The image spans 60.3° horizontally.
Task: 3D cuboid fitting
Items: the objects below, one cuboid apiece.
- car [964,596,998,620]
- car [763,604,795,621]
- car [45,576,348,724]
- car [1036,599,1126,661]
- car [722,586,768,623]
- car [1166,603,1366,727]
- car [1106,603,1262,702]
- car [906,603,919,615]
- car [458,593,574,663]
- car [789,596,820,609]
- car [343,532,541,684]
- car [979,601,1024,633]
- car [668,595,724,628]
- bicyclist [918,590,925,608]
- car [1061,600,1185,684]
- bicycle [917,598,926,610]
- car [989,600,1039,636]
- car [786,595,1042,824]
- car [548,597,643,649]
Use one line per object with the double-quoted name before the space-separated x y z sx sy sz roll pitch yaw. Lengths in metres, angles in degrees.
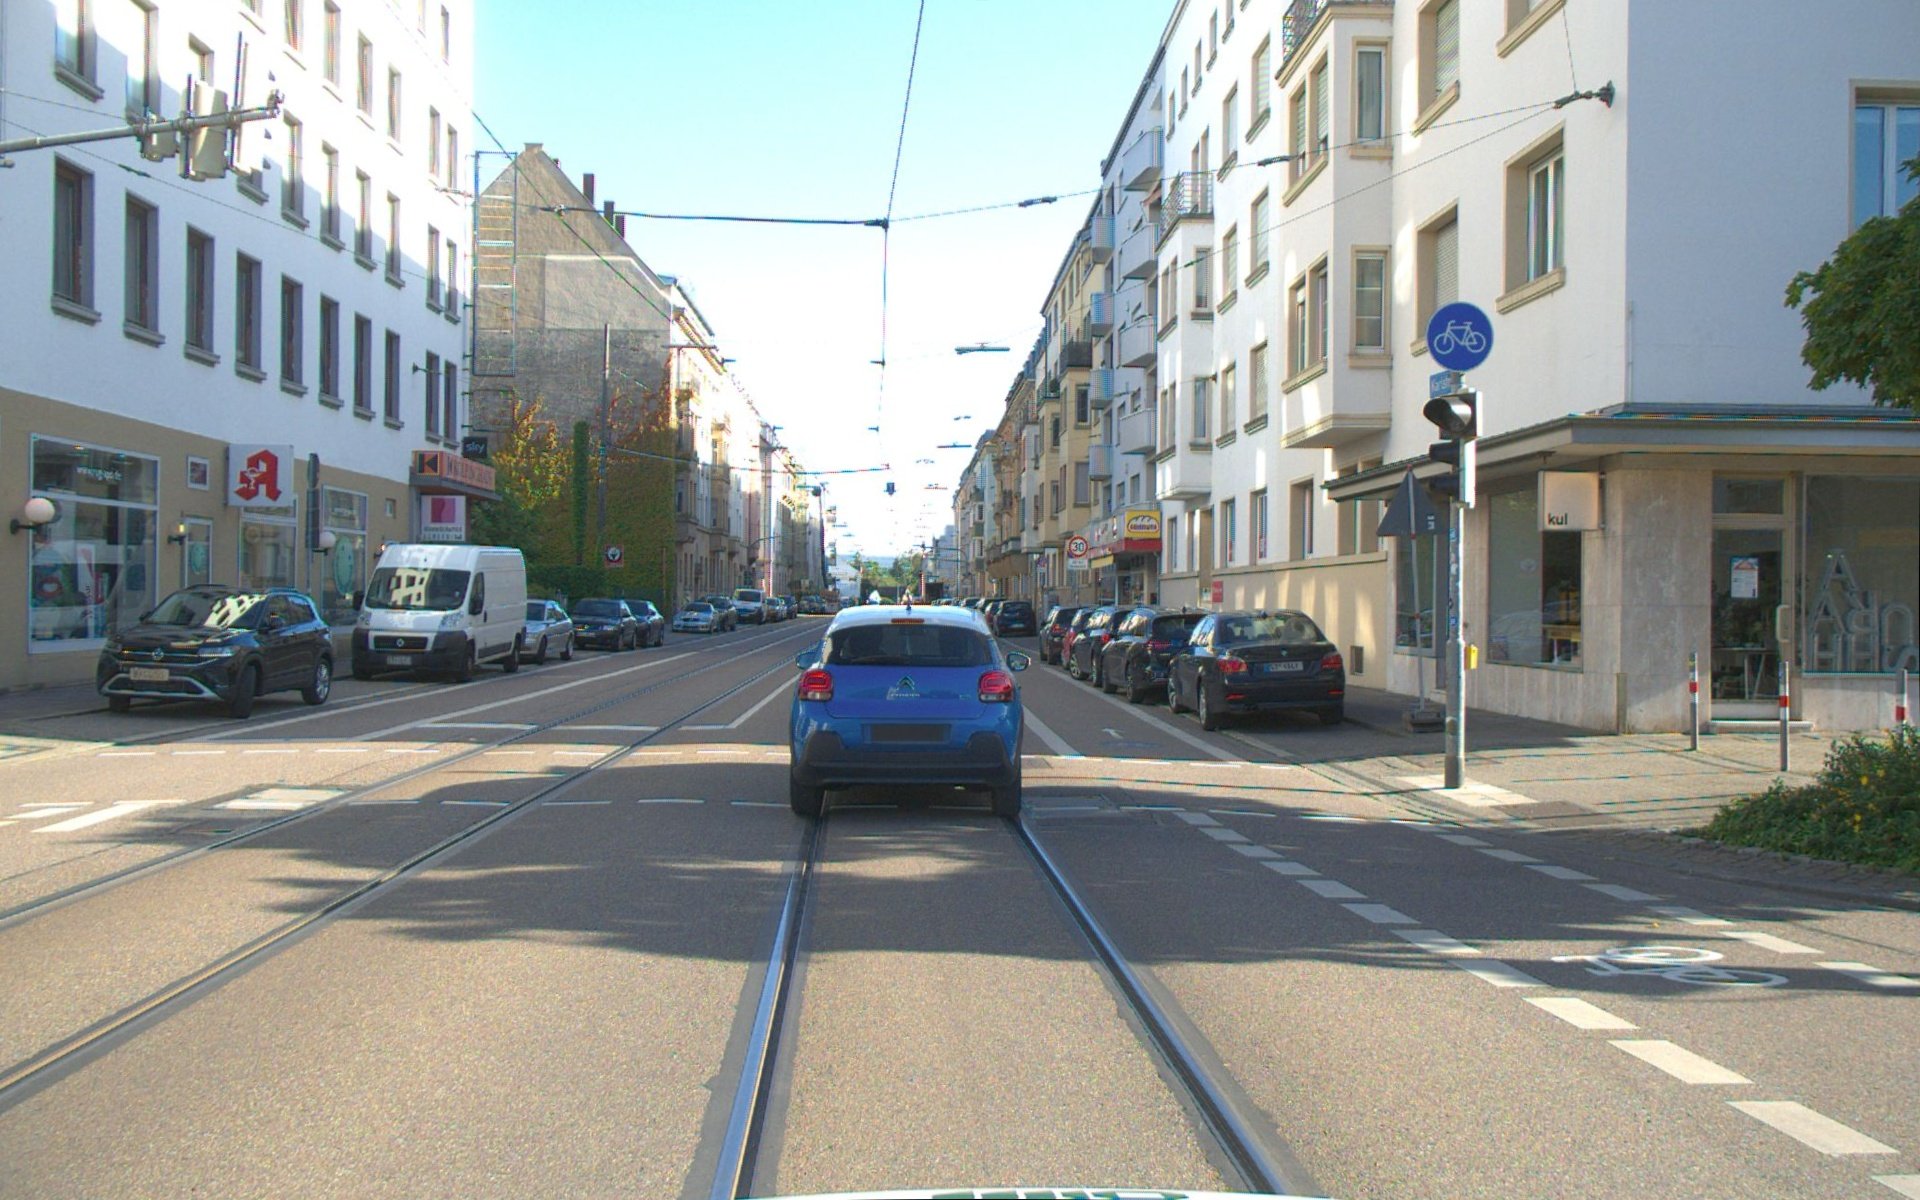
"car" 1.288 0.497 102.592 1.953 1.489 3.999 0 0 -1
"car" -13.434 0.913 123.023 1.953 1.176 3.999 0 0 -1
"car" -9.674 0.601 21.401 1.954 1.596 4.400 3 -1 -3
"car" 3.064 0.735 42.520 1.953 1.489 3.999 0 0 -1
"car" -12.437 0.284 95.870 1.965 2.049 4.689 1 -1 0
"car" 3.967 0.793 22.104 1.871 1.489 3.999 0 0 -1
"car" 3.581 0.808 27.147 1.953 1.489 3.999 0 0 -1
"car" -7.214 1.369 251.890 1.953 1.803 3.999 0 0 -2
"car" -10.247 0.633 38.395 1.850 1.522 3.560 1 -1 -3
"car" -14.454 0.257 153.900 1.951 1.176 4.518 0 0 8
"car" -9.763 0.137 31.763 2.044 2.586 6.202 1 0 -3
"car" 1.955 0.813 79.240 1.953 1.489 3.999 0 0 -1
"car" -11.493 0.521 72.302 1.954 1.348 3.920 1 -1 -3
"bicyclist" -4.441 -0.121 189.959 0.793 2.049 0.922 1 -1 -2
"car" 3.096 0.766 32.113 1.953 1.527 3.999 0 0 -1
"bicycle" -4.392 0.463 189.709 0.901 1.413 3.129 0 0 -4
"car" 2.307 0.751 71.476 1.953 1.489 4.503 0 0 -1
"car" -0.367 0.737 13.049 1.693 1.508 3.825 1 0 -2
"car" -10.343 0.648 47.191 1.954 1.422 4.155 0 -1 -3
